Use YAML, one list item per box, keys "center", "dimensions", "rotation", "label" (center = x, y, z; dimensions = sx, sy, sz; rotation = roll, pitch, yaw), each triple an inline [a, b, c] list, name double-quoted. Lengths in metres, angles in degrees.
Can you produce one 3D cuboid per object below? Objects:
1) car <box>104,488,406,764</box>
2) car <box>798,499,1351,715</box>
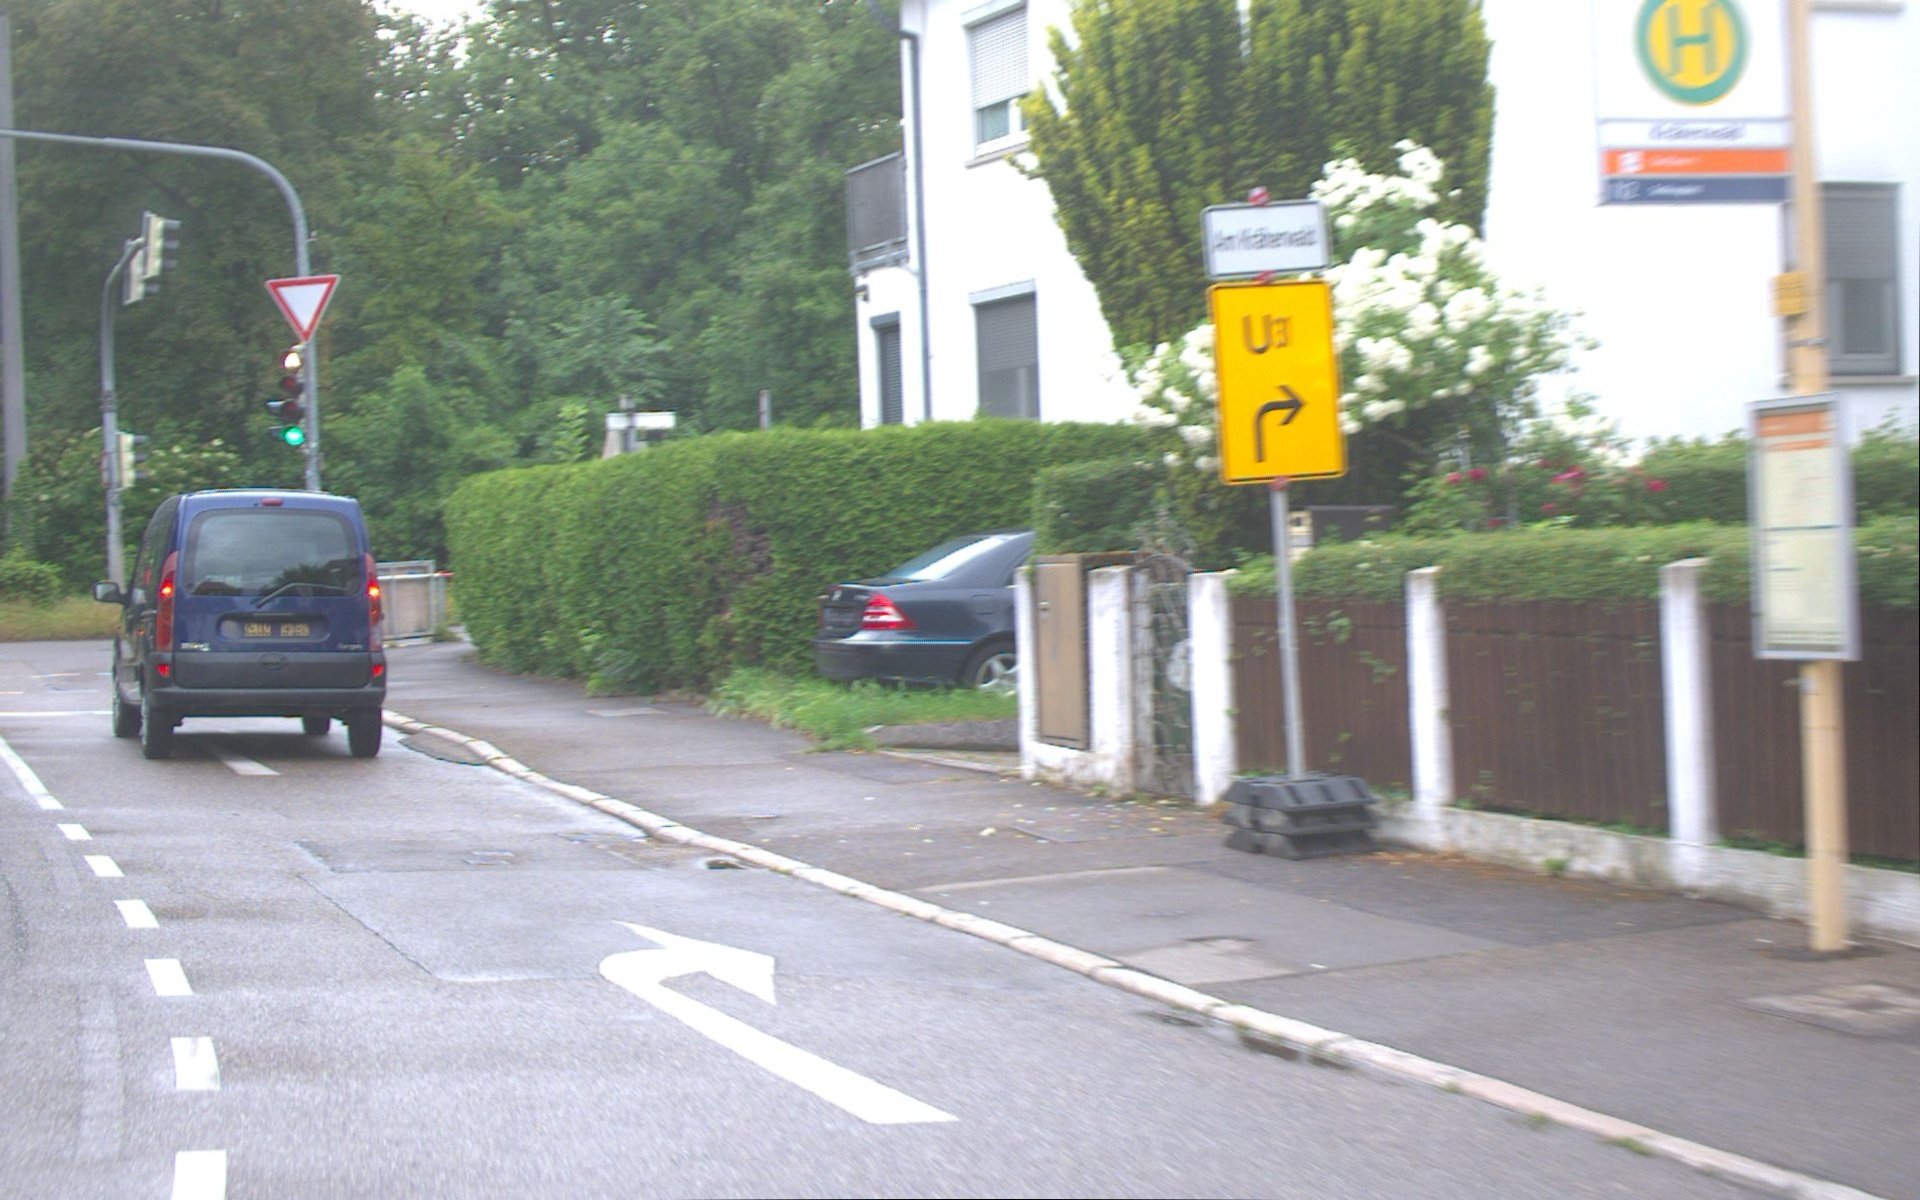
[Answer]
- center: [-5.169, 0.159, 24.861]
  dimensions: [1.808, 1.791, 4.001]
  rotation: [-2, 1, -16]
  label: "car"
- center: [0.837, 0.009, 25.455]
  dimensions: [3.742, 1.383, 1.617]
  rotation: [-2, 3, -19]
  label: "car"
